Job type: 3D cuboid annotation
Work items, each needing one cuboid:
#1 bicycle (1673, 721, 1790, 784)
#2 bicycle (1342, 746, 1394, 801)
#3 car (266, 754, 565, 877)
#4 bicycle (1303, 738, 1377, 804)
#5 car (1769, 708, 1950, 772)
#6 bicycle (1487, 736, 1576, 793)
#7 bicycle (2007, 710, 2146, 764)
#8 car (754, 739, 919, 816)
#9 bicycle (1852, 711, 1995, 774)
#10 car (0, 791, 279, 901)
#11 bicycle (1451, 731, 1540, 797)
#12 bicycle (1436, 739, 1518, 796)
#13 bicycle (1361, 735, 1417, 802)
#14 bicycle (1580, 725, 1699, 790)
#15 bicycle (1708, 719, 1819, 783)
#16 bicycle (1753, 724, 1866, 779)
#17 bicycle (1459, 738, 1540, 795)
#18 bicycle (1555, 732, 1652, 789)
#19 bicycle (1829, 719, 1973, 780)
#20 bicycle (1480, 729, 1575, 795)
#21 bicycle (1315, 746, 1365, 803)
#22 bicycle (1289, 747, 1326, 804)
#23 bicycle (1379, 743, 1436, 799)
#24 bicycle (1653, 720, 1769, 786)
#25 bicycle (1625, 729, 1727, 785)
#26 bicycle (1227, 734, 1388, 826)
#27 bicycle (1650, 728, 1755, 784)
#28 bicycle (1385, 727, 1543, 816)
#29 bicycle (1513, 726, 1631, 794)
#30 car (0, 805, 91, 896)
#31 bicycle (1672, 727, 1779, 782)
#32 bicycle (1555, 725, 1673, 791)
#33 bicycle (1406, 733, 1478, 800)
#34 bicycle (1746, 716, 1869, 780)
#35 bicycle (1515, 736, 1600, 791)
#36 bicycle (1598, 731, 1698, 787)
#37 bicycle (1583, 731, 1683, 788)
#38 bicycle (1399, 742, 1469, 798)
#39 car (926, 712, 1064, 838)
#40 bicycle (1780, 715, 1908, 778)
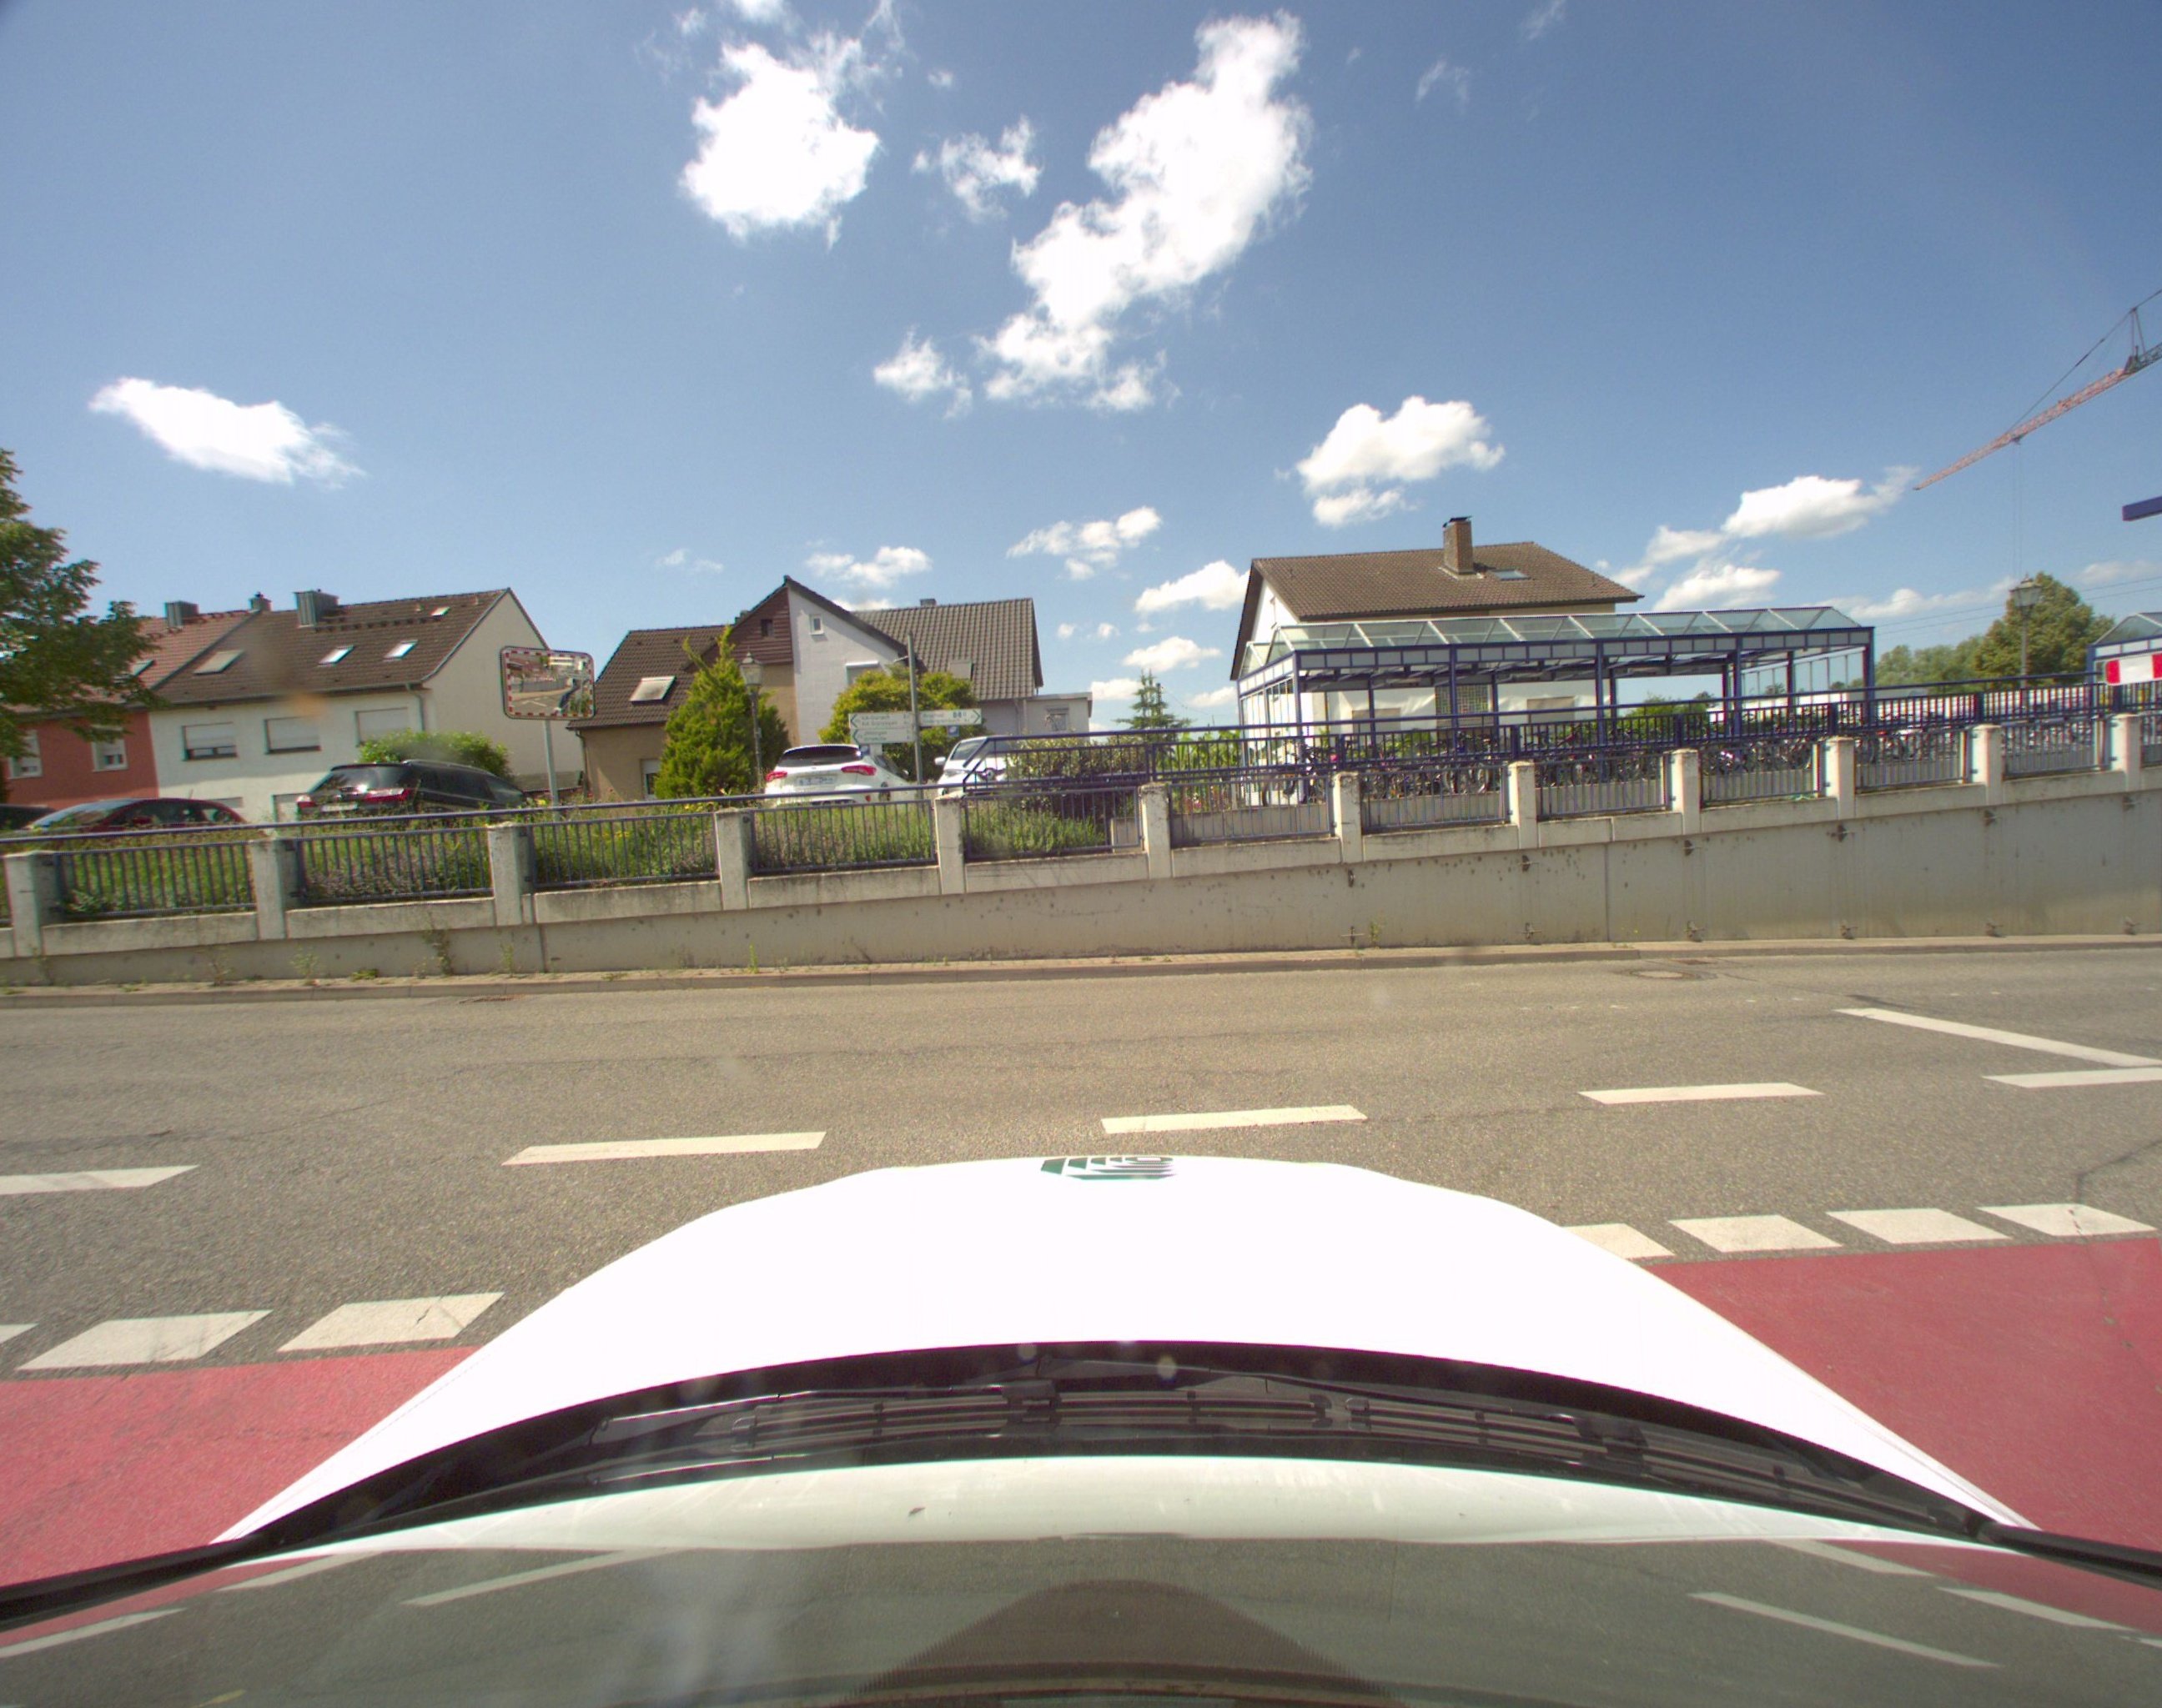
[{"bbox_3d":[11.882,-1.824,14.960,0.514,0.994,2.039,-3,3,1],"label":"bicycle"},{"bbox_3d":[5.711,-1.581,16.305,0.371,0.994,1.967,-3,3,2],"label":"bicycle"},{"bbox_3d":[-11.015,-0.593,13.938,1.862,1.797,3.998,0,1,-2],"label":"car"},{"bbox_3d":[4.398,-1.389,13.961,0.332,0.994,2.071,-3,3,-8],"label":"bicycle"},{"bbox_3d":[25.951,-3.756,27.332,1.995,1.677,3.986,-4,3,-11],"label":"car"},{"bbox_3d":[9.105,-1.783,16.549,0.518,0.994,1.961,-3,3,-7],"label":"bicycle"},{"bbox_3d":[22.687,-2.648,18.626,0.510,0.994,2.019,-4,3,-10],"label":"bicycle"},{"bbox_3d":[-3.959,-1.214,13.782,1.820,1.020,3.457,0,1,-2],"label":"car"},{"bbox_3d":[16.020,-2.086,15.572,0.542,0.994,2.037,-3,3,-3],"label":"bicycle"},{"bbox_3d":[-15.978,-0.134,13.481,1.862,1.586,3.608,0,1,-2],"label":"car"},{"bbox_3d":[7.192,-1.526,14.250,0.434,0.994,2.282,-3,3,1],"label":"bicycle"},{"bbox_3d":[7.925,-1.708,16.384,0.473,0.994,1.961,-3,3,-7],"label":"bicycle"},{"bbox_3d":[5.108,-1.377,13.600,0.433,0.994,2.108,-3,3,9],"label":"bicycle"},{"bbox_3d":[10.147,-1.725,14.911,0.531,0.994,2.185,-3,3,-5],"label":"bicycle"},{"bbox_3d":[12.573,-1.869,15.085,0.513,0.994,2.043,-3,3,6],"label":"bicycle"},{"bbox_3d":[15.375,-2.135,17.261,0.542,0.994,2.039,-3,3,-1],"label":"bicycle"},{"bbox_3d":[8.399,-1.737,16.430,0.413,0.994,1.961,-3,3,-7],"label":"bicycle"},{"bbox_3d":[10.538,-1.861,16.514,0.518,0.994,1.961,-3,3,-7],"label":"bicycle"},{"bbox_3d":[15.930,-1.999,15.915,0.436,0.994,2.157,-3,3,-8],"label":"bicycle"},{"bbox_3d":[7.772,-1.561,14.292,0.434,0.994,2.282,-3,3,1],"label":"bicycle"},{"bbox_3d":[4.998,-1.517,15.825,0.371,0.994,1.967,-3,3,2],"label":"bicycle"},{"bbox_3d":[4.324,-1.468,15.609,0.452,0.994,1.894,-3,3,10],"label":"bicycle"},{"bbox_3d":[6.453,-1.616,16.192,0.371,0.994,1.967,-3,3,2],"label":"bicycle"},{"bbox_3d":[11.166,-1.763,14.537,0.576,0.994,2.193,-3,3,7],"label":"bicycle"},{"bbox_3d":[12.396,-1.992,17.047,0.518,0.994,1.961,-3,3,-7],"label":"bicycle"},{"bbox_3d":[3.061,-1.001,11.006,2.114,1.125,0.332,-4,3,-9],"label":"bicycle"},{"bbox_3d":[12.982,-2.027,17.092,0.518,0.994,1.961,-3,3,-7],"label":"bicycle"},{"bbox_3d":[5.338,-1.146,11.350,2.114,1.125,0.391,-4,3,-9],"label":"bicycle"},{"bbox_3d":[8.541,-1.604,14.288,0.531,0.994,2.278,-3,3,-5],"label":"bicycle"},{"bbox_3d":[-19.775,-0.054,13.689,1.862,1.586,3.608,0,1,-2],"label":"car"},{"bbox_3d":[13.527,-2.061,17.163,0.518,0.994,1.961,-3,3,-7],"label":"bicycle"},{"bbox_3d":[9.487,-1.672,14.601,0.531,0.994,2.185,-3,3,-5],"label":"bicycle"},{"bbox_3d":[6.109,-1.448,13.884,0.433,0.994,2.105,-3,3,5],"label":"bicycle"},{"bbox_3d":[13.321,-1.907,15.017,0.513,0.994,2.041,-3,3,3],"label":"bicycle"},{"bbox_3d":[9.758,-1.830,16.757,0.518,0.994,1.797,-3,3,-7],"label":"bicycle"},{"bbox_3d":[11.784,-1.956,17.011,0.518,0.994,1.961,-3,3,-7],"label":"bicycle"},{"bbox_3d":[11.257,-1.910,16.683,0.518,0.994,1.961,-3,3,-7],"label":"bicycle"},{"bbox_3d":[7.073,-1.662,16.416,0.425,0.994,1.963,-3,3,-4],"label":"bicycle"},{"bbox_3d":[-1.290,-1.180,13.915,1.988,1.797,4.194,0,1,-2],"label":"car"},{"bbox_3d":[14.127,-1.960,15.159,0.541,0.994,2.041,-3,3,3],"label":"bicycle"}]
